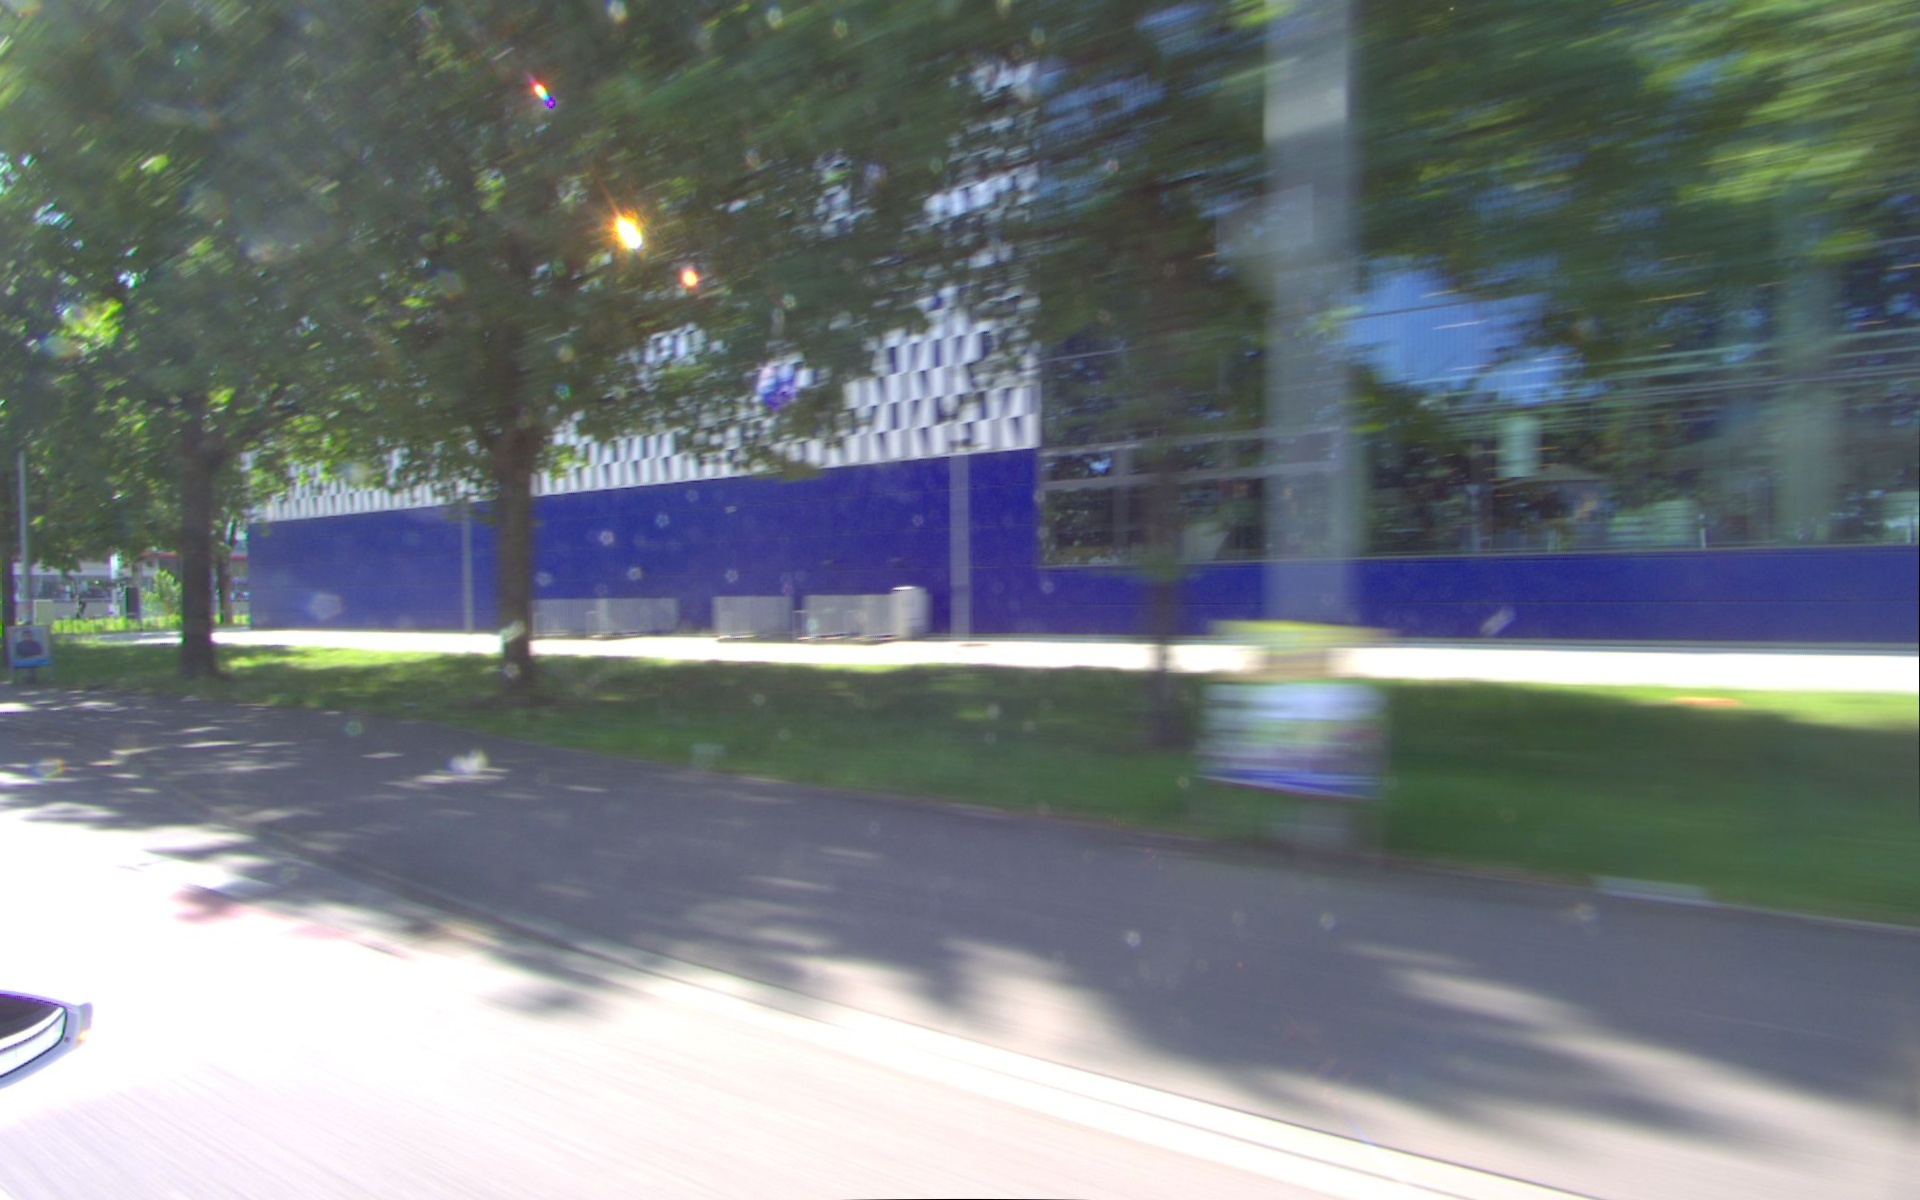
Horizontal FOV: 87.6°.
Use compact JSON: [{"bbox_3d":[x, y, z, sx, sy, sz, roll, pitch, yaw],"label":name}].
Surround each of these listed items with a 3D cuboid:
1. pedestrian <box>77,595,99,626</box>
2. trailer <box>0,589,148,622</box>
[{"bbox_3d":[-50.487,0.597,57.969,0.791,1.794,0.627,0,1,20],"label":"pedestrian"},{"bbox_3d":[-77.693,0.473,86.364,1.973,2.501,11.843,1,-1,35],"label":"trailer"}]
